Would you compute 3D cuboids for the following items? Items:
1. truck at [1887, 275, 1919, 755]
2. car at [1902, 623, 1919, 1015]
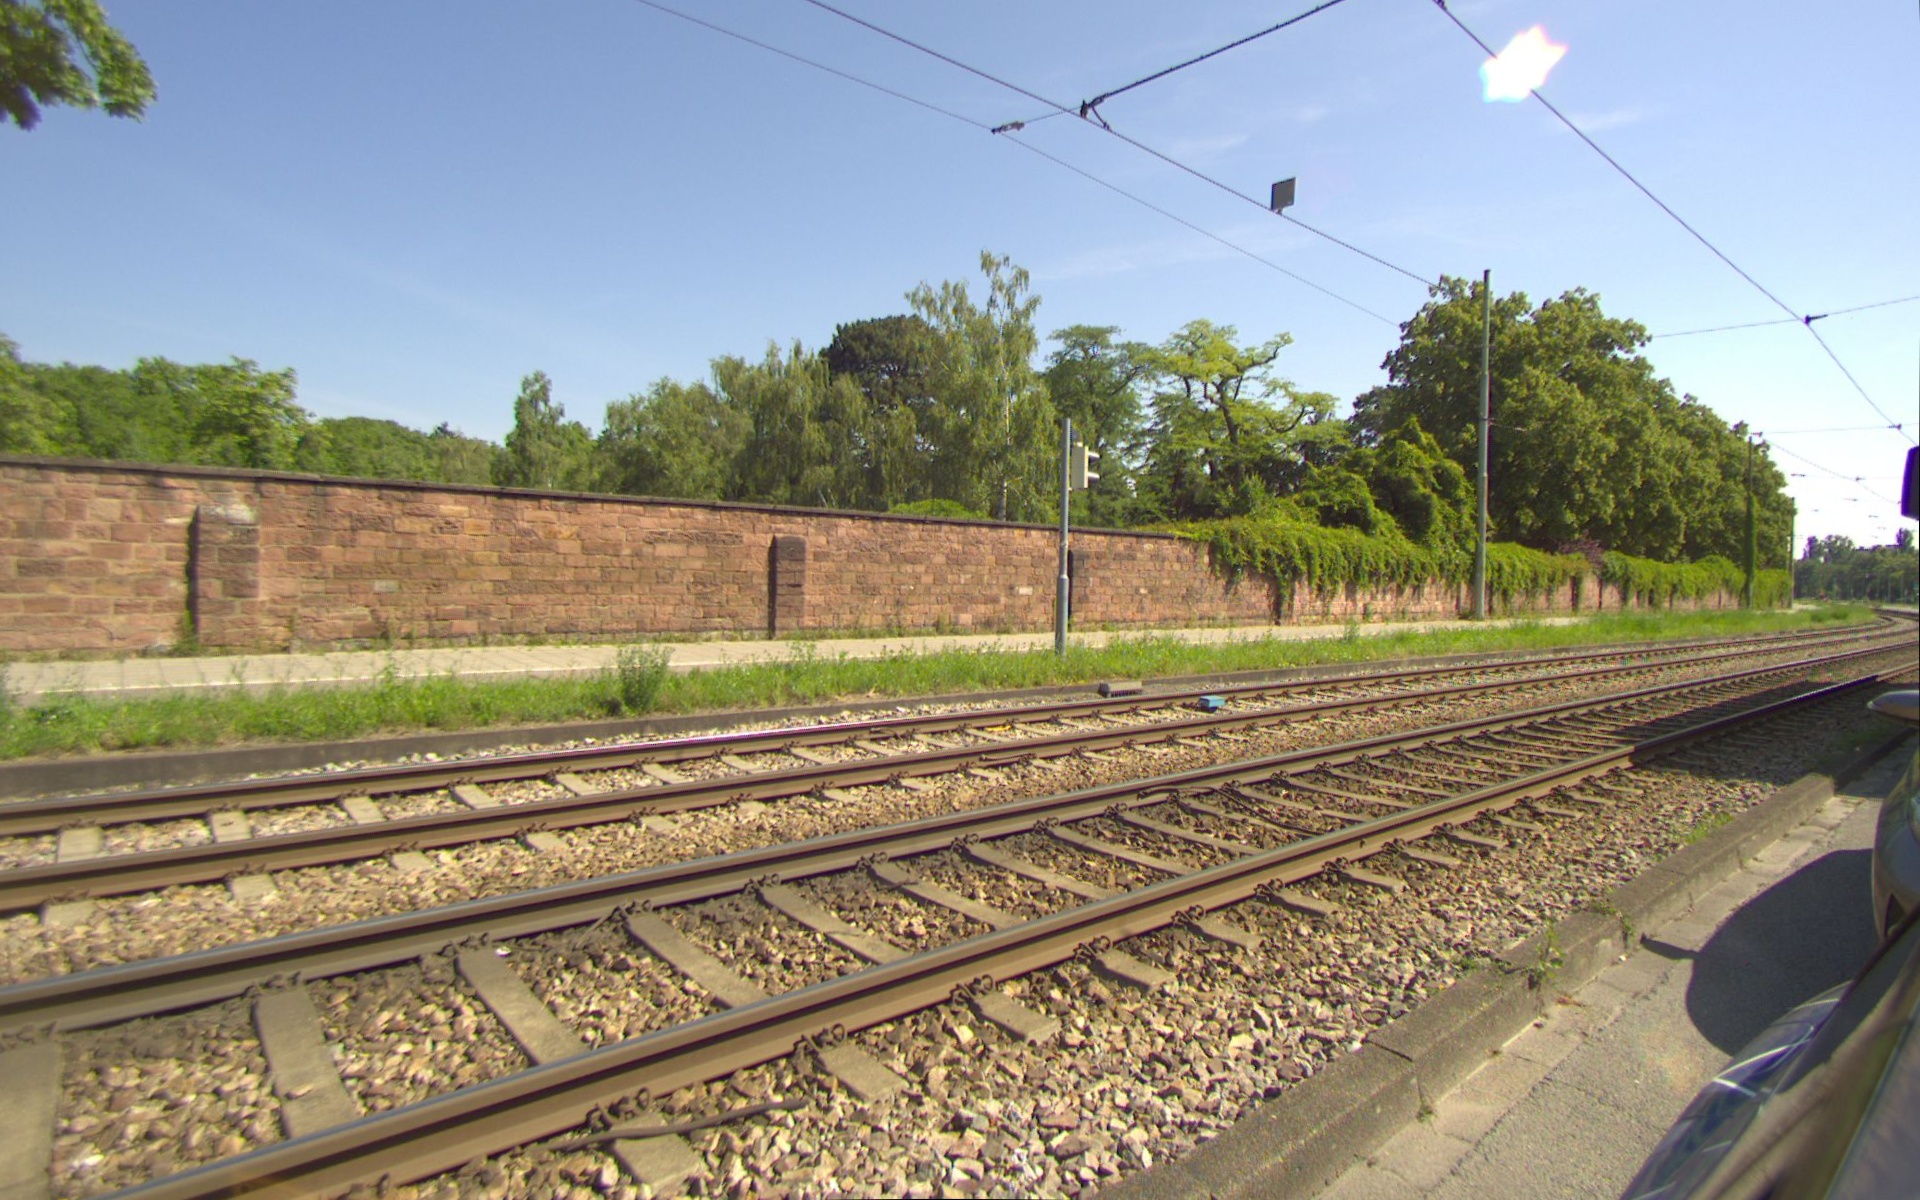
[{"bbox_3d":[14.238,-0.651,12.071,14.652,3.927,2.934,0,2,-41],"label":"truck"},{"bbox_3d":[5.118,0.664,4.016,3.930,1.448,1.573,0,2,-41],"label":"car"}]
